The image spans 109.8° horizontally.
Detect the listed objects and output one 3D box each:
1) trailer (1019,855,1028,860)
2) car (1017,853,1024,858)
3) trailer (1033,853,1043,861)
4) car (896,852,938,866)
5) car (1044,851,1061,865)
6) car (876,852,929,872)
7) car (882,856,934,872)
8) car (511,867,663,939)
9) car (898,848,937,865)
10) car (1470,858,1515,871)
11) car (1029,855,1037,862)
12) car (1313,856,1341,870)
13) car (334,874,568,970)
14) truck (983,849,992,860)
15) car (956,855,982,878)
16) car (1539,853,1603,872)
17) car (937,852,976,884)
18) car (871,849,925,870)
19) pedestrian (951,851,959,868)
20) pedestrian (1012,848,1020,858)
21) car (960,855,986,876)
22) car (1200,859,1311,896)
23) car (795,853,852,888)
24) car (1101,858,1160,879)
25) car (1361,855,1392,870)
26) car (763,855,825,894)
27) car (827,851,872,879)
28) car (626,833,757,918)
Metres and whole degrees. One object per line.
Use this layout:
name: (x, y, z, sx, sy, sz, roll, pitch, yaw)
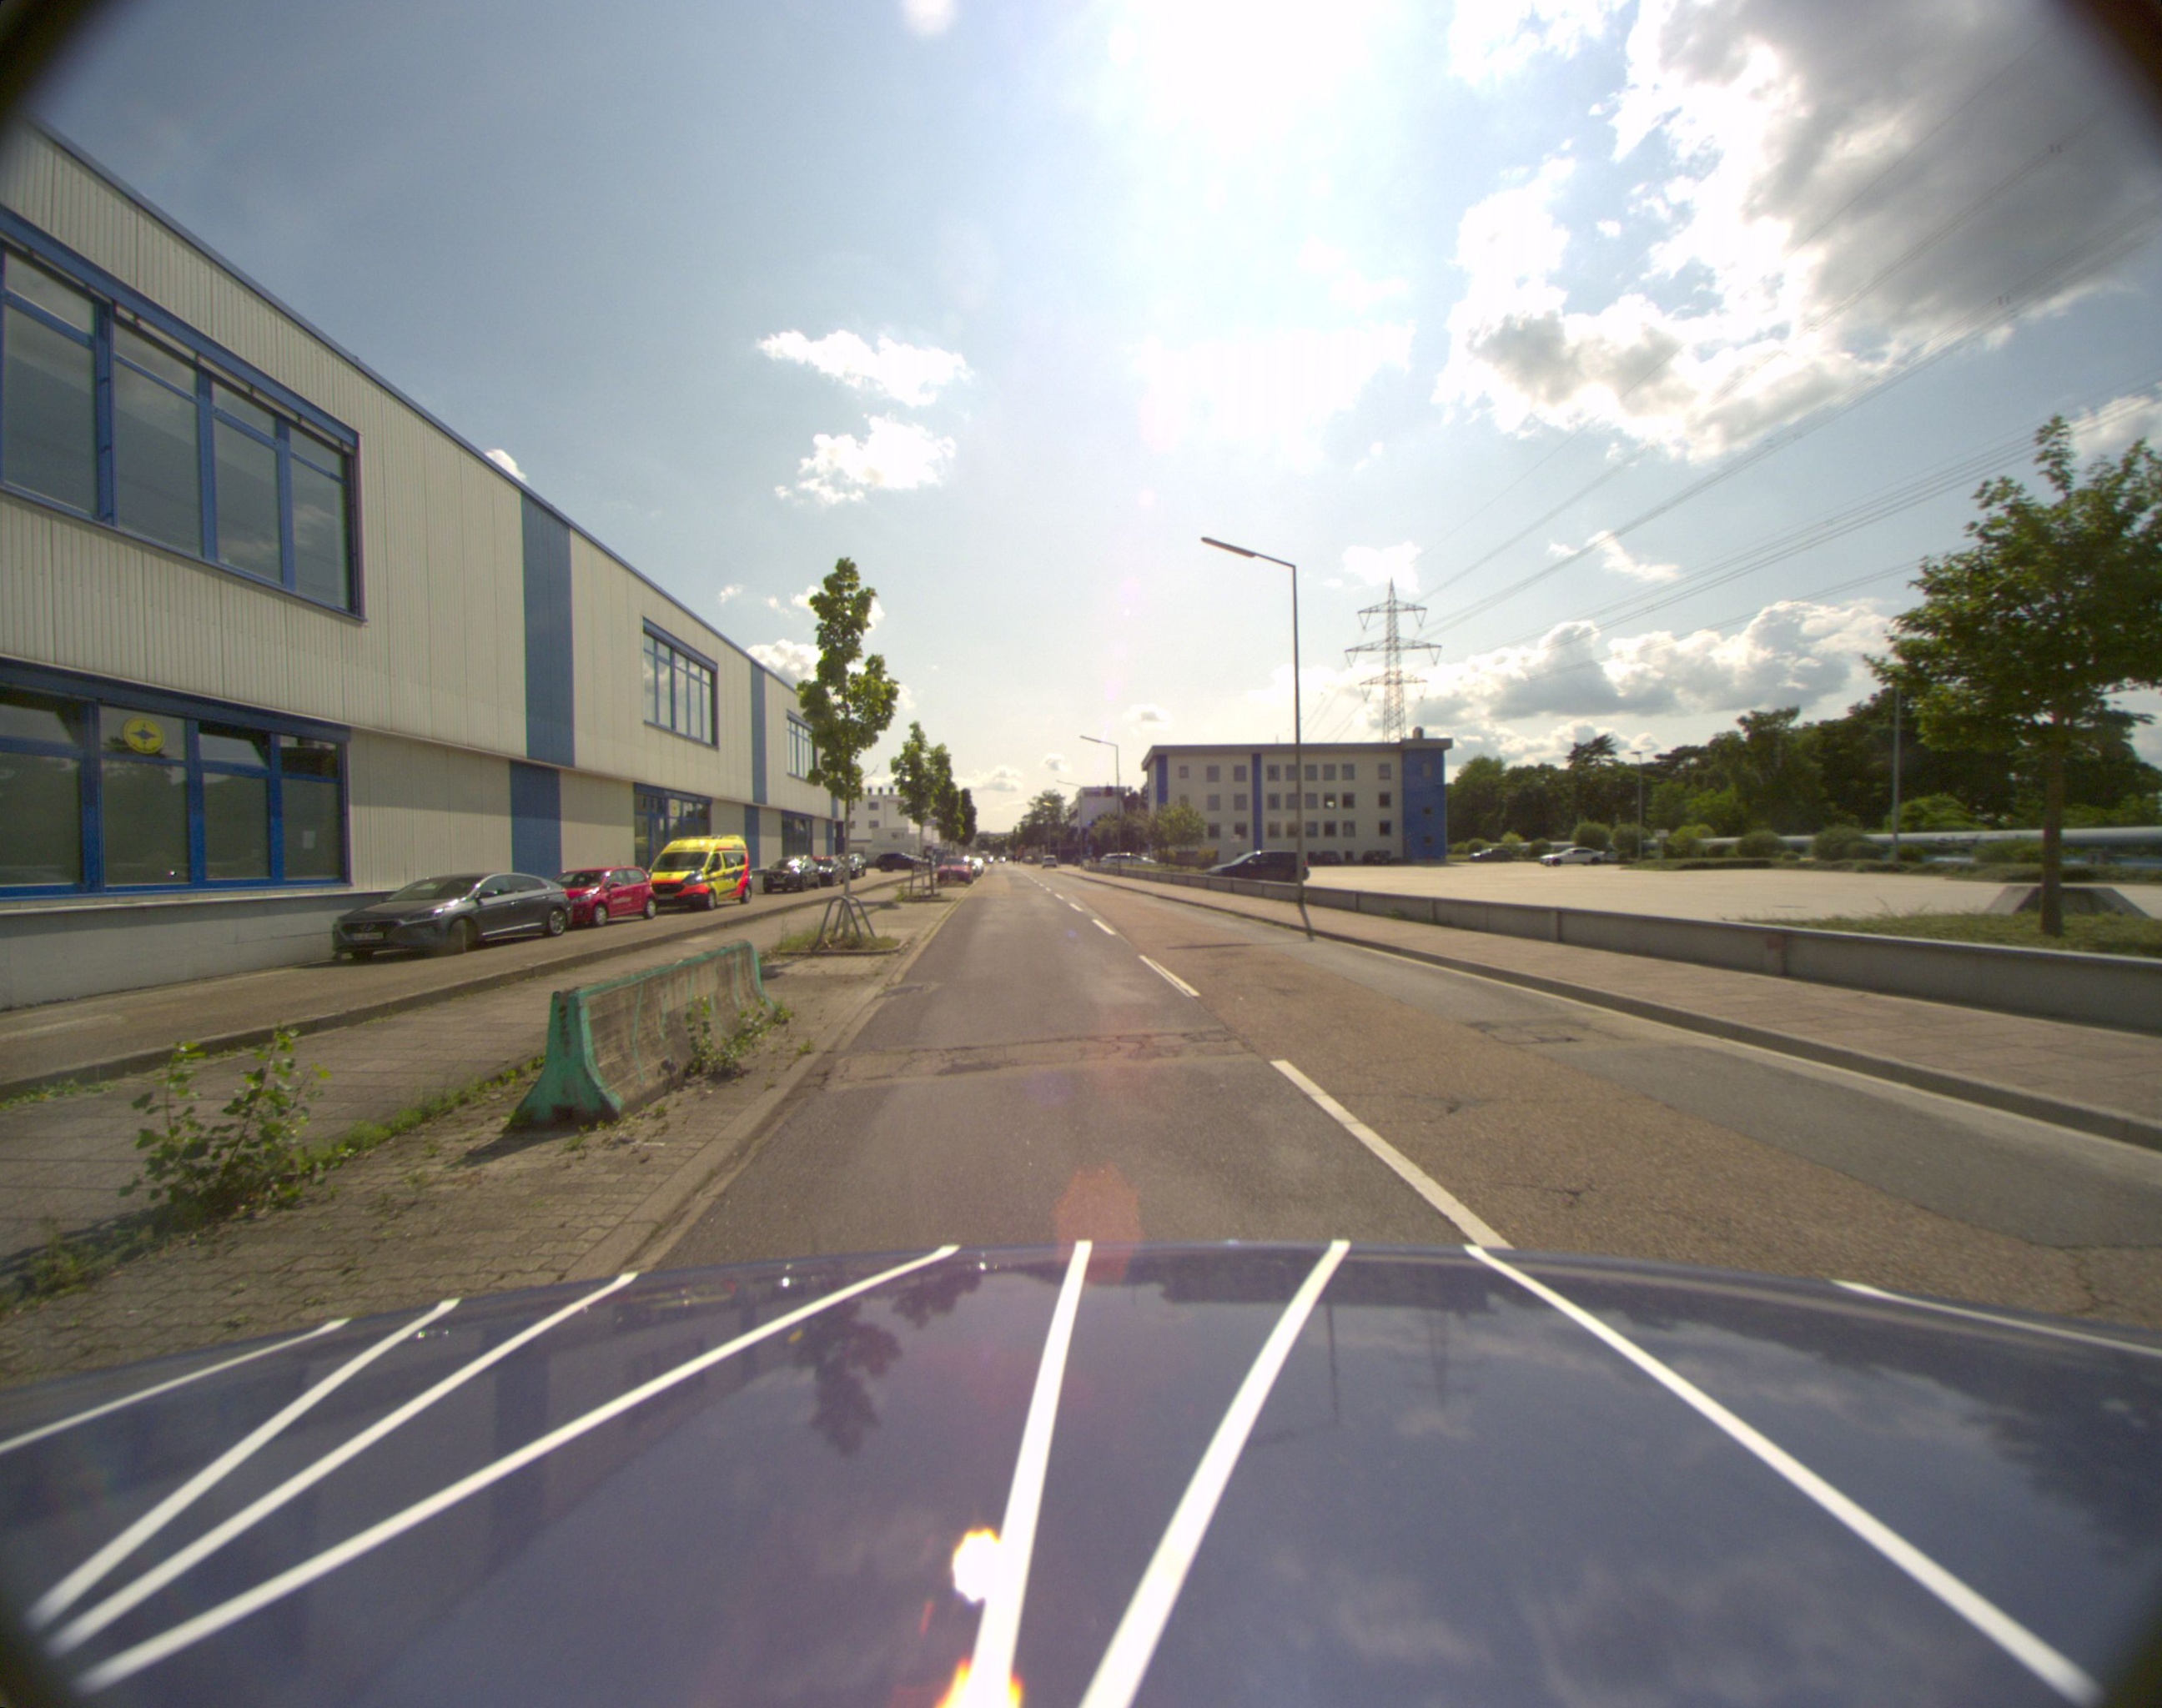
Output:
trailer: (-16.370, 0.999, 215.793, 2.458, 1.157, 6.048, -3, 1, -7)
car: (-18.680, 0.518, 234.193, 1.715, 1.459, 4.626, -4, 1, -7)
trailer: (-8.965, 0.672, 156.982, 1.772, 1.431, 4.333, -4, 1, -6)
car: (-16.800, 0.513, 78.188, 3.999, 1.412, 1.999, -1, 0, -5)
car: (-3.832, 0.532, 102.286, 1.873, 1.698, 4.749, -2, 1, -6)
car: (-15.409, 0.655, 65.834, 4.239, 1.637, 2.146, -1, 0, -7)
car: (-15.577, 0.890, 68.493, 4.292, 1.412, 1.999, -1, 0, -5)
car: (-12.229, 1.129, 19.118, 1.577, 1.482, 3.814, -2, 1, -6)
car: (-17.307, 0.219, 80.624, 3.818, 1.670, 1.790, -2, 1, -6)
car: (41.845, 1.031, 77.313, 3.606, 1.244, 1.804, -1, 0, 3)
car: (-10.960, 1.043, 173.615, 1.678, 1.447, 4.511, -3, 1, -6)
car: (24.903, 0.869, 76.956, 1.566, 1.368, 3.680, -1, 0, -2)
car: (-11.750, 1.182, 14.546, 1.500, 1.395, 3.852, -2, 1, -6)
truck: (-28.653, 0.109, 232.816, 2.608, 3.207, 8.072, -4, 1, -7)
car: (-8.378, 0.911, 56.983, 1.673, 1.512, 3.992, -2, 1, -6)
car: (38.847, 0.664, 60.332, 3.821, 1.465, 1.804, -1, 0, 7)
car: (-7.114, 0.762, 43.715, 1.760, 1.641, 4.675, -2, 1, -4)
car: (-15.247, 0.454, 63.519, 4.097, 1.676, 1.999, -1, 0, -7)
pedestrian: (-13.200, 0.548, 79.820, 0.772, 1.746, 0.786, 1, 1, -6)
pedestrian: (-12.487, -0.264, 146.022, 0.994, 1.940, 1.089, -1, 1, -29)
car: (-8.793, 0.896, 62.157, 1.841, 1.512, 4.458, -2, 1, -6)
car: (7.018, 0.928, 30.735, 3.999, 1.368, 1.802, -1, 0, -6)
car: (-14.067, 0.854, 41.776, 1.999, 1.648, 4.286, -1, 2, -6)
car: (4.202, 1.187, 64.730, 4.769, 1.593, 1.999, -2, 1, -5)
car: (29.673, 0.858, 76.308, 1.566, 1.368, 3.679, -1, 1, -2)
car: (-13.614, 0.937, 36.276, 1.719, 1.642, 4.212, -1, 1, -6)
car: (-14.638, 0.660, 48.238, 1.833, 1.504, 4.636, -1, 3, -6)
car: (-12.517, 0.608, 24.878, 1.929, 2.449, 5.256, -2, 1, -6)
